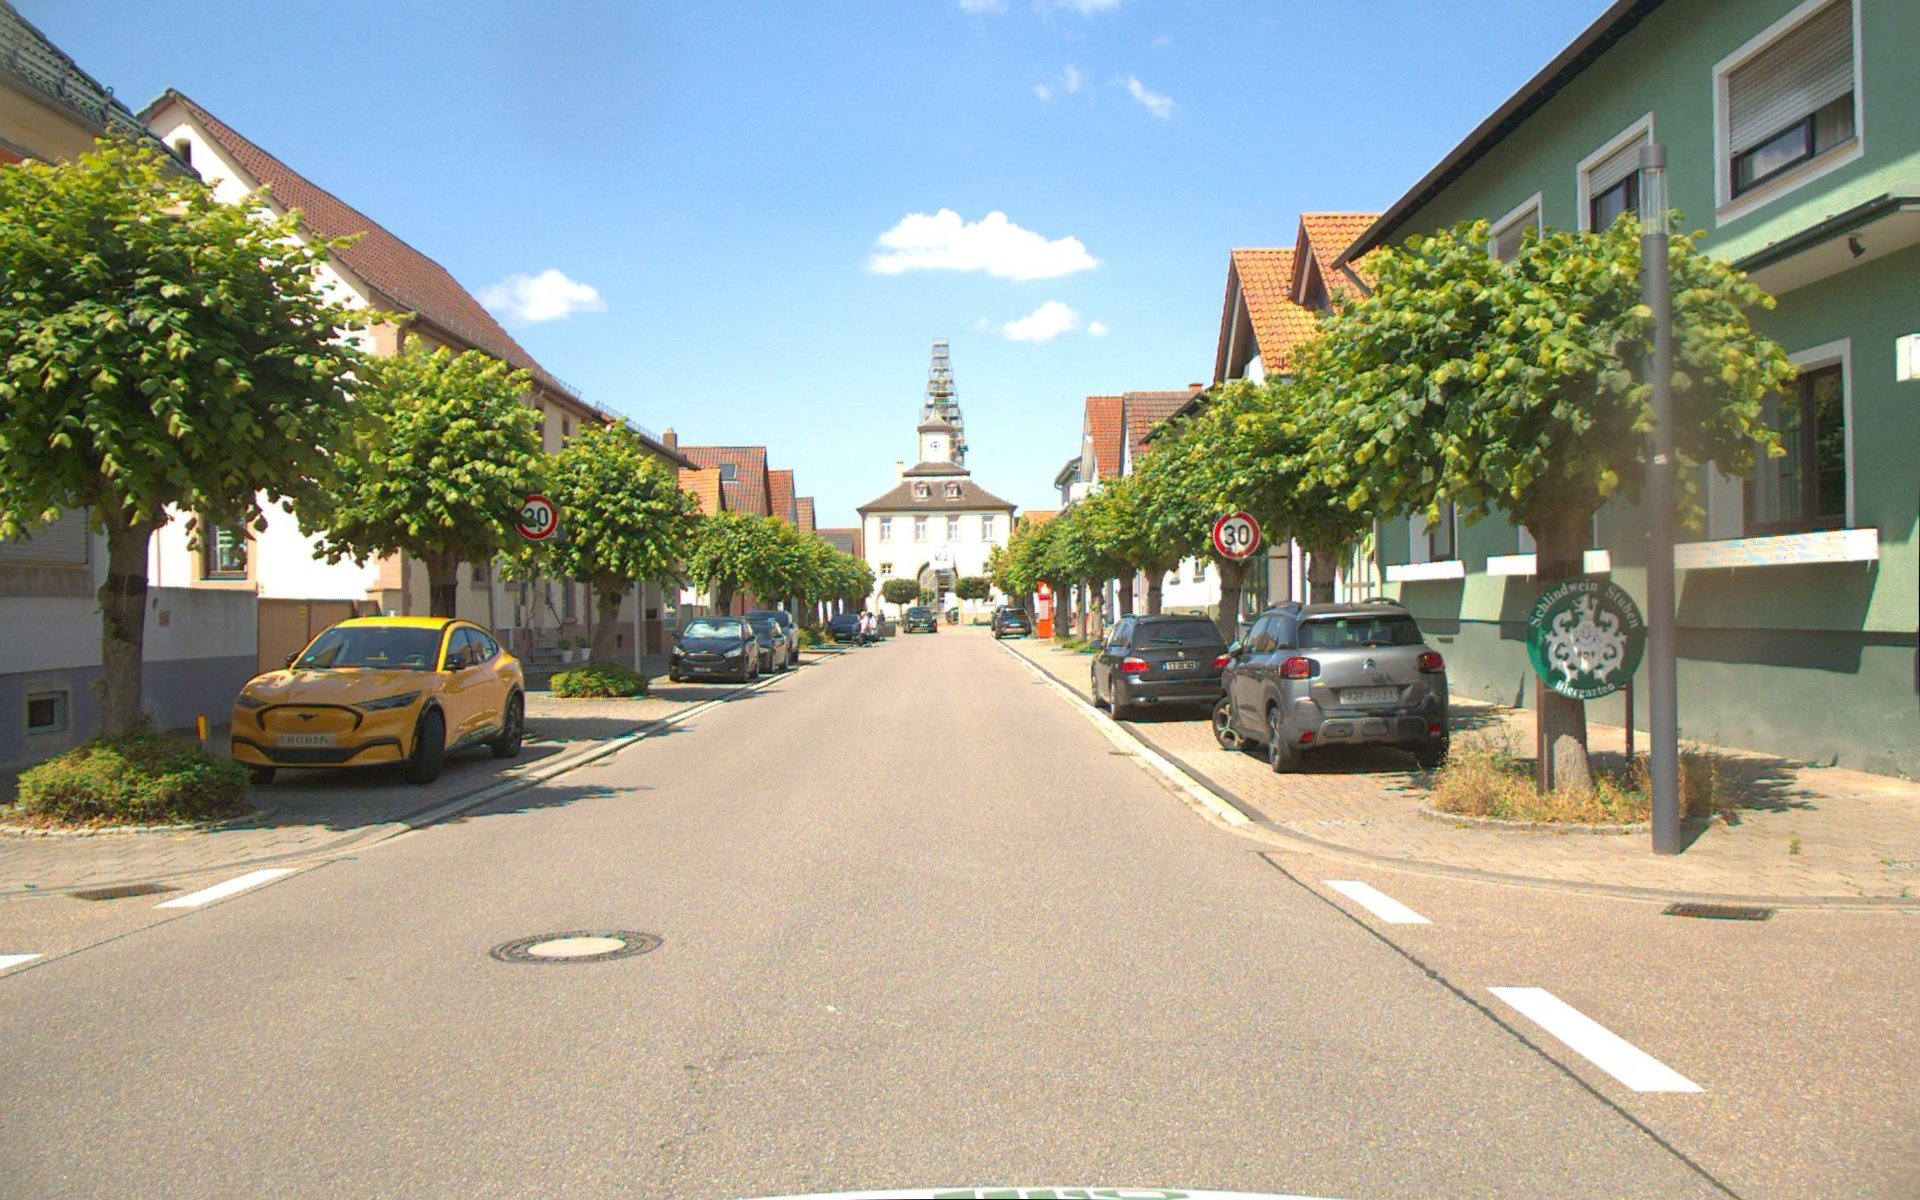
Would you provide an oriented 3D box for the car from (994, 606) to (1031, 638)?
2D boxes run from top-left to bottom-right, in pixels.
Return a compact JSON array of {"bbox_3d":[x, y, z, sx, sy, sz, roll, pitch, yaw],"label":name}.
[{"bbox_3d":[2.757,1.156,87.823,1.800,1.582,4.313,-3,0,0],"label":"car"}]

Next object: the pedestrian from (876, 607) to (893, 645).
[{"bbox_3d":[-4.130,1.395,90.071,0.817,2.049,0.885,1,-1,-9],"label":"pedestrian"}]

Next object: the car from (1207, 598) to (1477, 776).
[{"bbox_3d":[3.856,0.819,17.406,1.800,1.636,3.998,-1,0,-2],"label":"car"}]

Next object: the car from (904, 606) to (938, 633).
[{"bbox_3d":[-2.529,1.275,105.782,1.954,1.640,4.501,1,-1,-4],"label":"car"}]

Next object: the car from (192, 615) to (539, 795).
[{"bbox_3d":[-6.107,0.992,17.686,1.952,1.639,4.689,1,0,1],"label":"car"}]

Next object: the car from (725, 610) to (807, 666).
[{"bbox_3d":[-6.033,1.153,51.842,1.952,1.639,4.689,-1,0,1],"label":"car"}]

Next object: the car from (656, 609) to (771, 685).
[{"bbox_3d":[-5.767,1.063,39.206,1.952,1.639,4.689,1,0,1],"label":"car"}]

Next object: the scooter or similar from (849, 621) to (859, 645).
[{"bbox_3d":[-4.674,1.461,72.909,0.323,1.020,0.240,-2,-1,37],"label":"scooter or similar"}]

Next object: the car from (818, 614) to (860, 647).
[{"bbox_3d":[-5.979,1.499,82.023,1.721,1.582,4.020,-1,0,0],"label":"car"}]

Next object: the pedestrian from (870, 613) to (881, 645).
[{"bbox_3d":[-3.735,1.283,73.383,0.352,1.428,0.319,-2,-1,37],"label":"pedestrian"}]

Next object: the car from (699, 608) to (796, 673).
[{"bbox_3d":[-5.706,1.093,44.906,1.952,1.640,4.688,1,-1,1],"label":"car"}]

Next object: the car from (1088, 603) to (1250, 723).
[{"bbox_3d":[3.054,0.885,25.004,1.800,1.582,4.312,-3,0,-1],"label":"car"}]

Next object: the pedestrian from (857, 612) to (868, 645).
[{"bbox_3d":[-4.259,1.253,72.238,0.352,1.428,0.319,-2,-1,37],"label":"pedestrian"}]

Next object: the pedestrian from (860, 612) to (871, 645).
[{"bbox_3d":[-4.190,1.270,73.119,0.352,1.428,0.319,-2,-1,37],"label":"pedestrian"}]
